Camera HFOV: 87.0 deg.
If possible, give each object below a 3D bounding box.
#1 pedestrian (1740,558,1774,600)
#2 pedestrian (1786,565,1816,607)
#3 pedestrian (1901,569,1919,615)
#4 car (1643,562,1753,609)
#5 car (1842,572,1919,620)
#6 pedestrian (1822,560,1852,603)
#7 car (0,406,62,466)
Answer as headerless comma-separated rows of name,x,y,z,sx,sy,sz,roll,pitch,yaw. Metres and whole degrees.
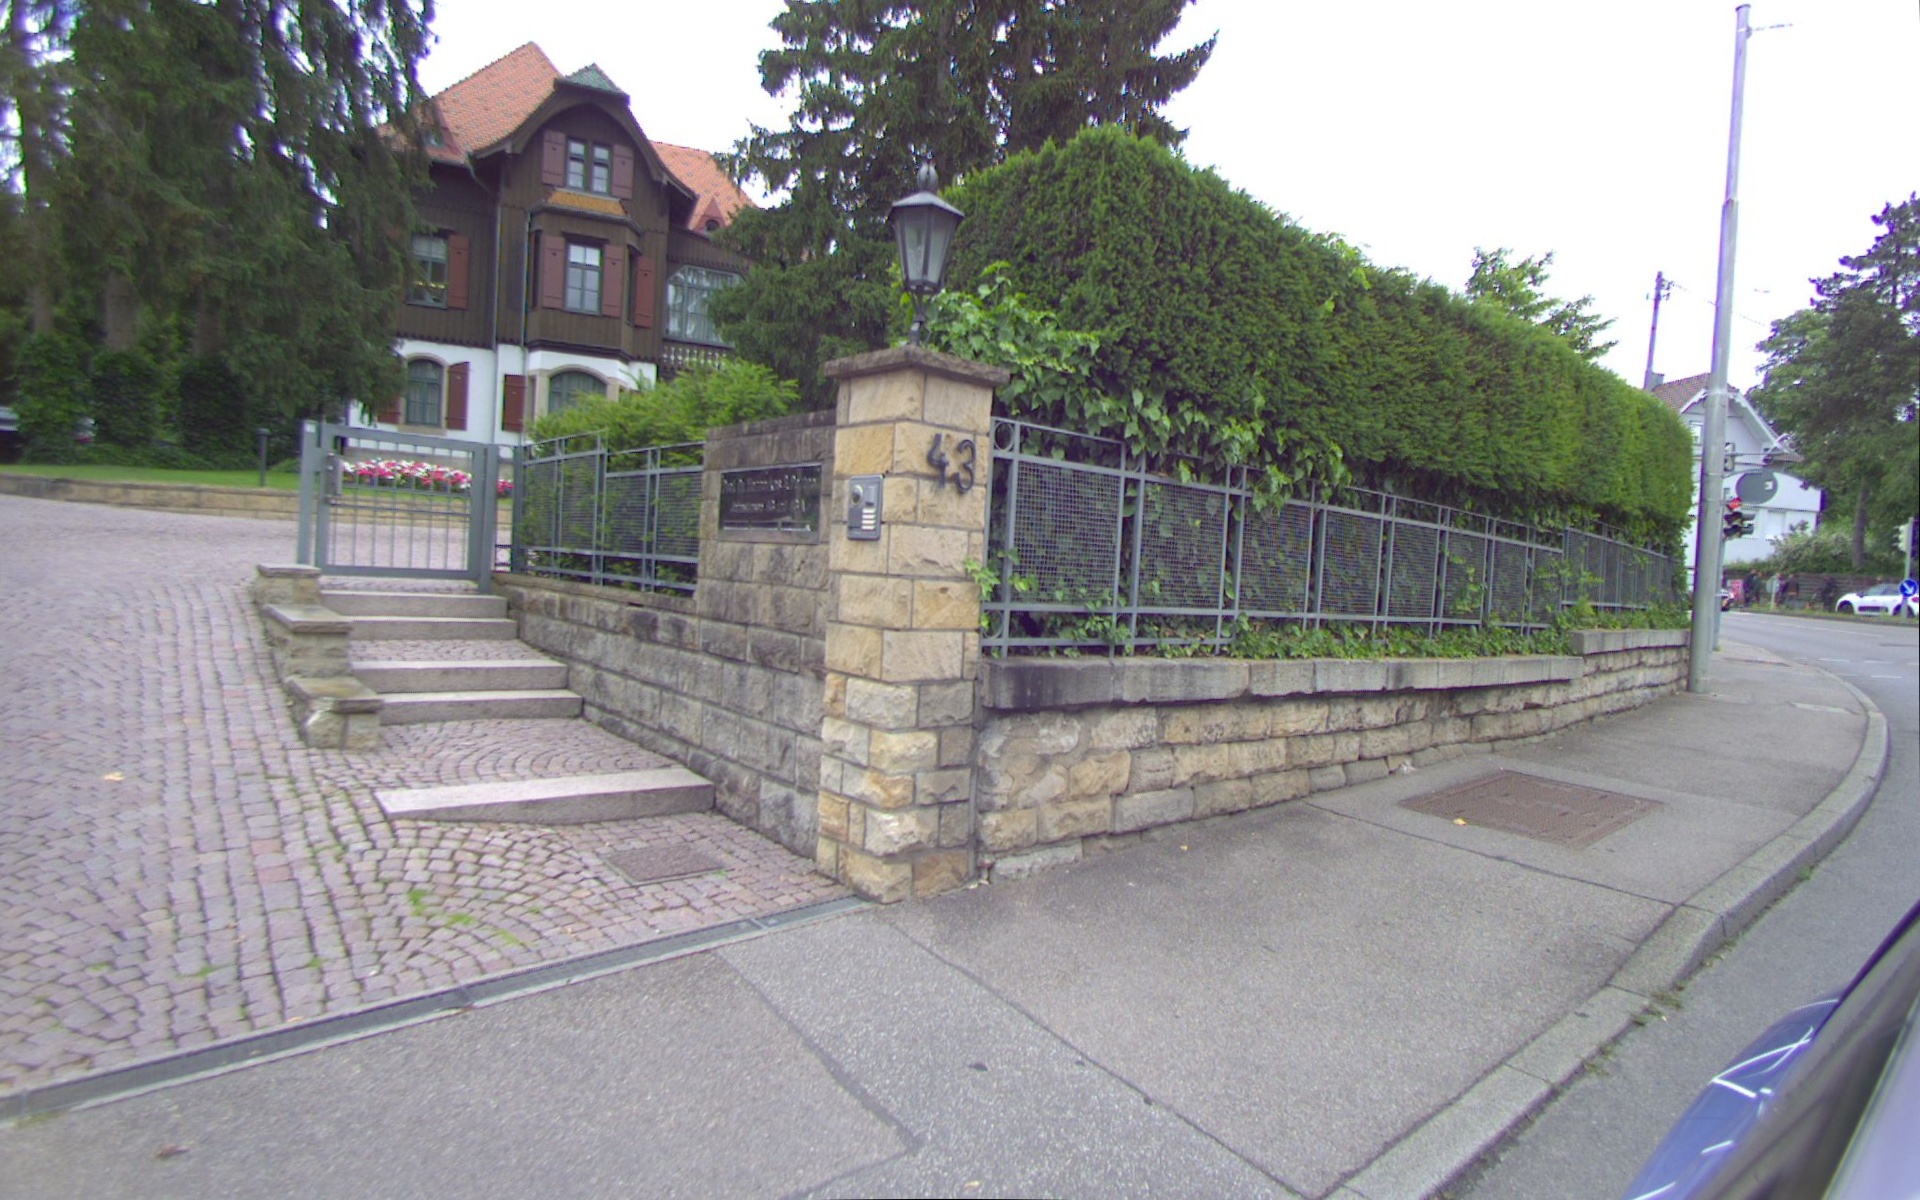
pedestrian,36.710,-0.983,46.615,0.862,1.835,0.690,3,3,-12
pedestrian,37.517,-0.644,45.166,0.600,1.809,0.668,3,3,-15
pedestrian,39.424,-0.316,41.640,0.664,1.856,0.614,3,3,-14
car,29.376,-0.628,40.439,1.589,1.599,3.999,2,4,5
car,34.564,-0.101,36.793,1.671,1.456,3.757,4,5,3
pedestrian,38.705,-0.829,44.662,0.591,1.856,0.614,3,3,-14
car,-22.380,-3.803,22.447,3.342,1.247,1.477,5,5,-19
